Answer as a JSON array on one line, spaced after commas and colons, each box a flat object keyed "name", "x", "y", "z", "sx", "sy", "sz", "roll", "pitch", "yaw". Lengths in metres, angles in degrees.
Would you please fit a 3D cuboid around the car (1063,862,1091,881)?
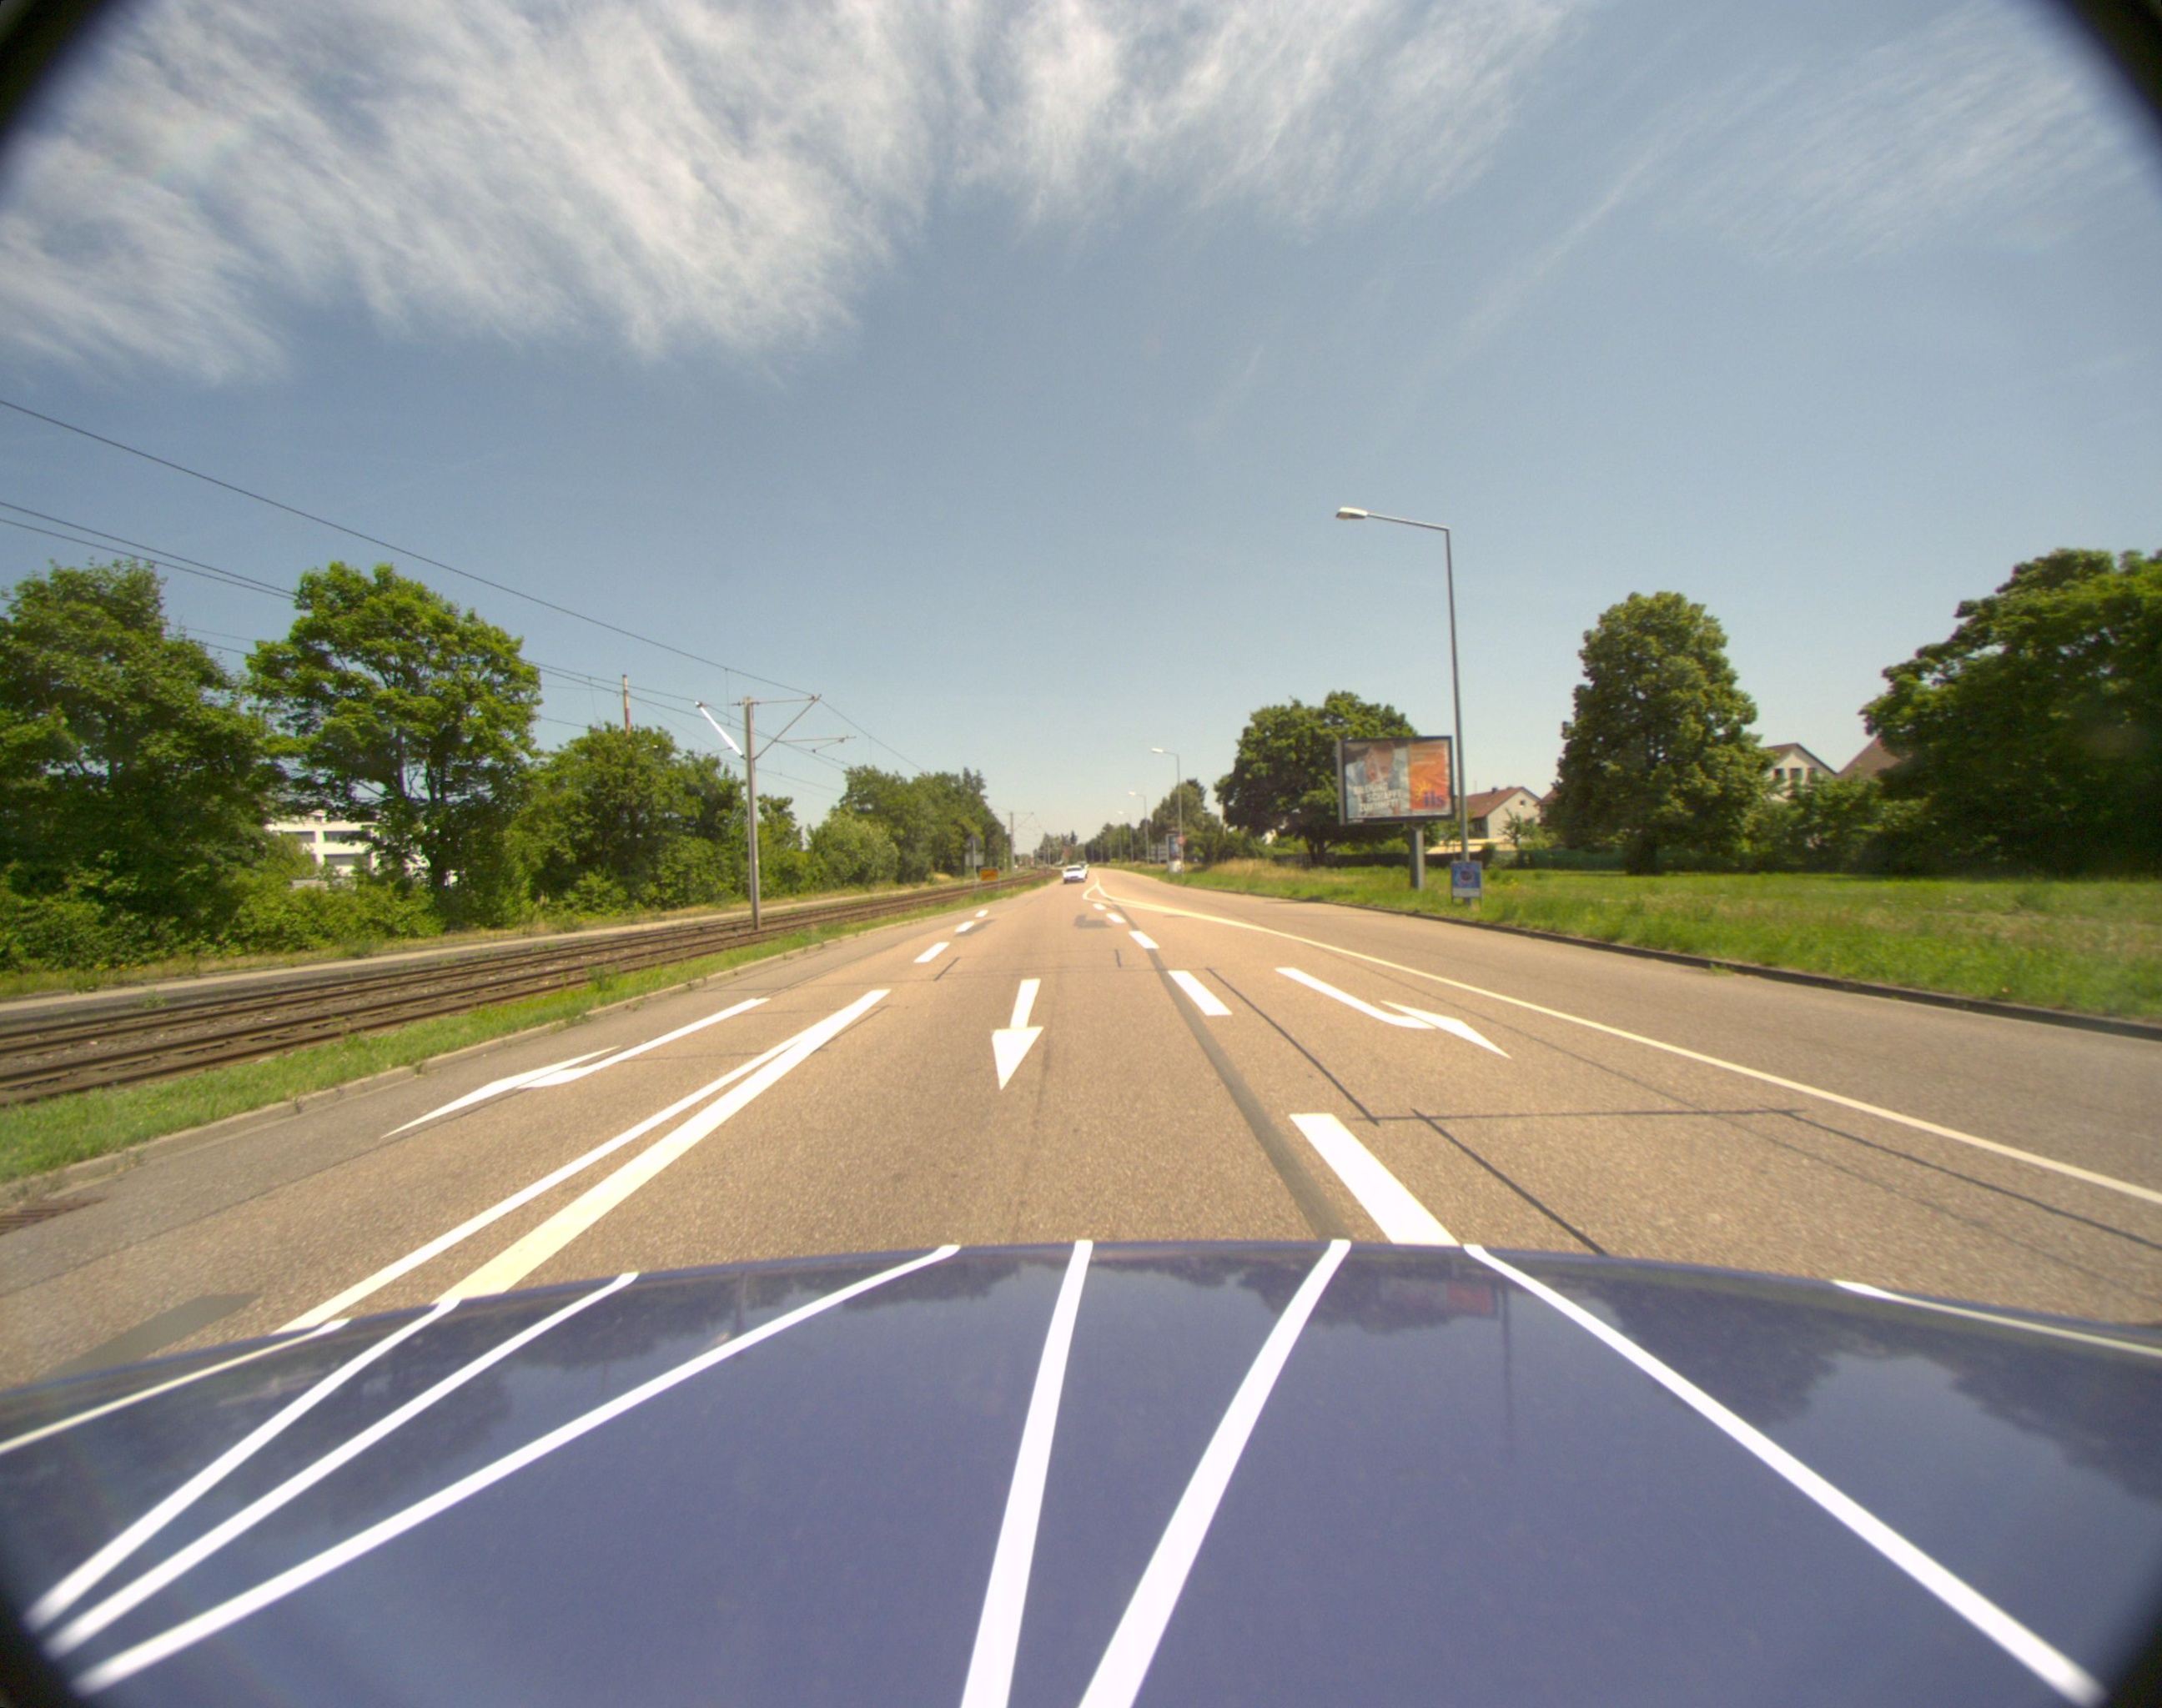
[{"name": "car", "x": -0.296, "y": 1.435, "z": 64.583, "sx": 1.954, "sy": 1.467, "sz": 4.363, "roll": -3, "pitch": -1, "yaw": 4}]
